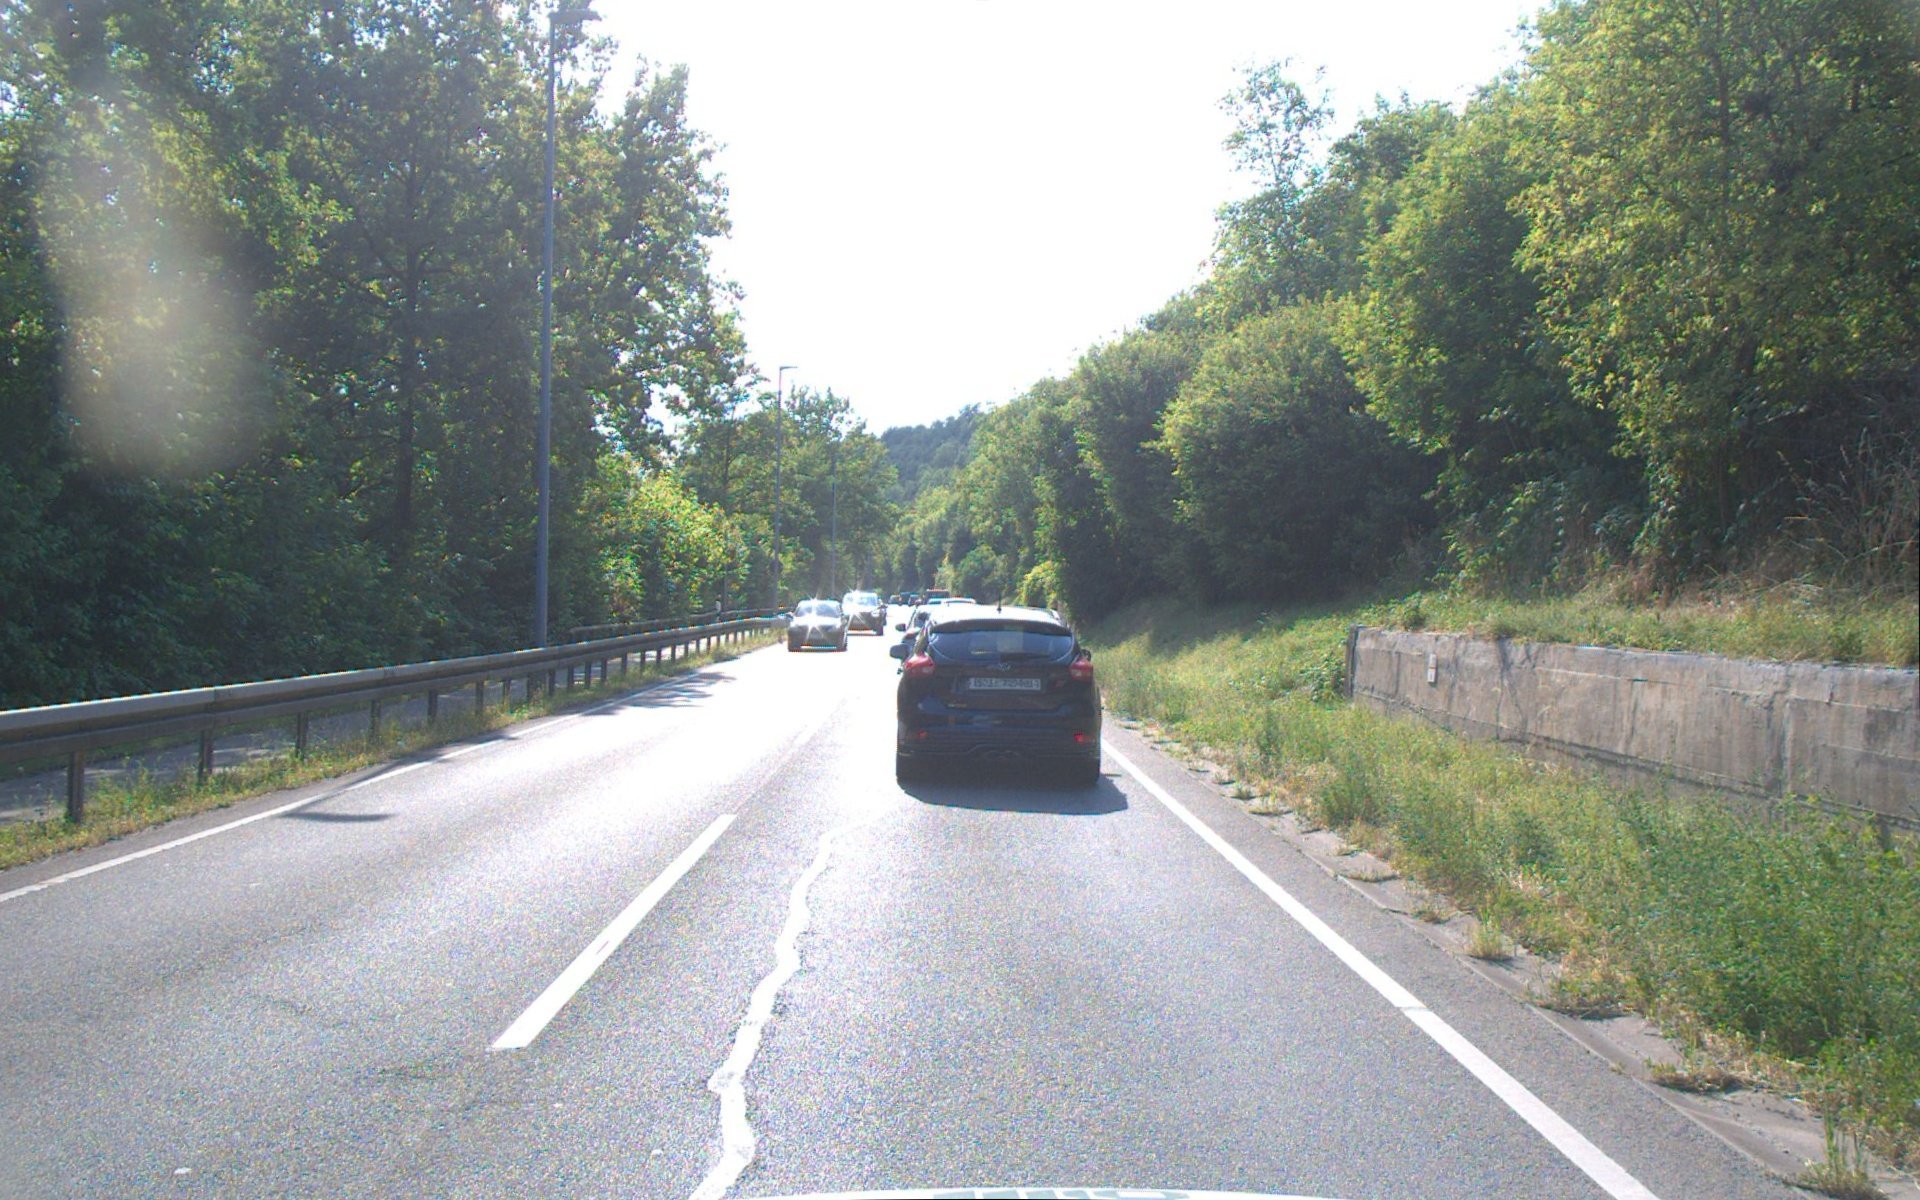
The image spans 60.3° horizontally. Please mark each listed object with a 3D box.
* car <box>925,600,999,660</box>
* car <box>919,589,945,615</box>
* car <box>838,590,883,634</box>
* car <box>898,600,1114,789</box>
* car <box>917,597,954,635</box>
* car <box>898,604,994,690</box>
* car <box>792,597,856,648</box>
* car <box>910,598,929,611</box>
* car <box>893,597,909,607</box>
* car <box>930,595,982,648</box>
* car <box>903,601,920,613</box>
[{"bbox_3d":[0.021,0.726,41.732,1.768,1.416,3.999,0,0,-1],"label":"car"},{"bbox_3d":[-2.026,0.113,118.521,1.825,1.812,3.999,0,0,-2],"label":"car"},{"bbox_3d":[-4.089,0.477,68.587,1.712,1.747,4.220,0,0,-1],"label":"car"},{"bbox_3d":[0.343,0.762,15.212,1.704,1.482,3.999,1,0,-1],"label":"car"},{"bbox_3d":[-1.078,0.698,73.334,1.597,1.624,3.999,0,0,-1],"label":"car"},{"bbox_3d":[-0.215,0.797,29.871,1.627,1.443,4.000,0,0,1],"label":"car"},{"bbox_3d":[-4.062,0.648,49.927,1.647,1.467,3.999,0,0,-1],"label":"car"},{"bbox_3d":[-5.218,0.551,211.150,1.956,1.545,3.993,0,0,-8],"label":"car"},{"bbox_3d":[-8.752,0.314,244.721,1.956,1.545,3.993,0,0,-8],"label":"car"},{"bbox_3d":[-0.152,0.667,53.648,1.597,1.624,3.999,0,0,-1],"label":"car"},{"bbox_3d":[-6.823,0.976,232.089,1.956,1.545,3.993,0,0,-8],"label":"car"}]
